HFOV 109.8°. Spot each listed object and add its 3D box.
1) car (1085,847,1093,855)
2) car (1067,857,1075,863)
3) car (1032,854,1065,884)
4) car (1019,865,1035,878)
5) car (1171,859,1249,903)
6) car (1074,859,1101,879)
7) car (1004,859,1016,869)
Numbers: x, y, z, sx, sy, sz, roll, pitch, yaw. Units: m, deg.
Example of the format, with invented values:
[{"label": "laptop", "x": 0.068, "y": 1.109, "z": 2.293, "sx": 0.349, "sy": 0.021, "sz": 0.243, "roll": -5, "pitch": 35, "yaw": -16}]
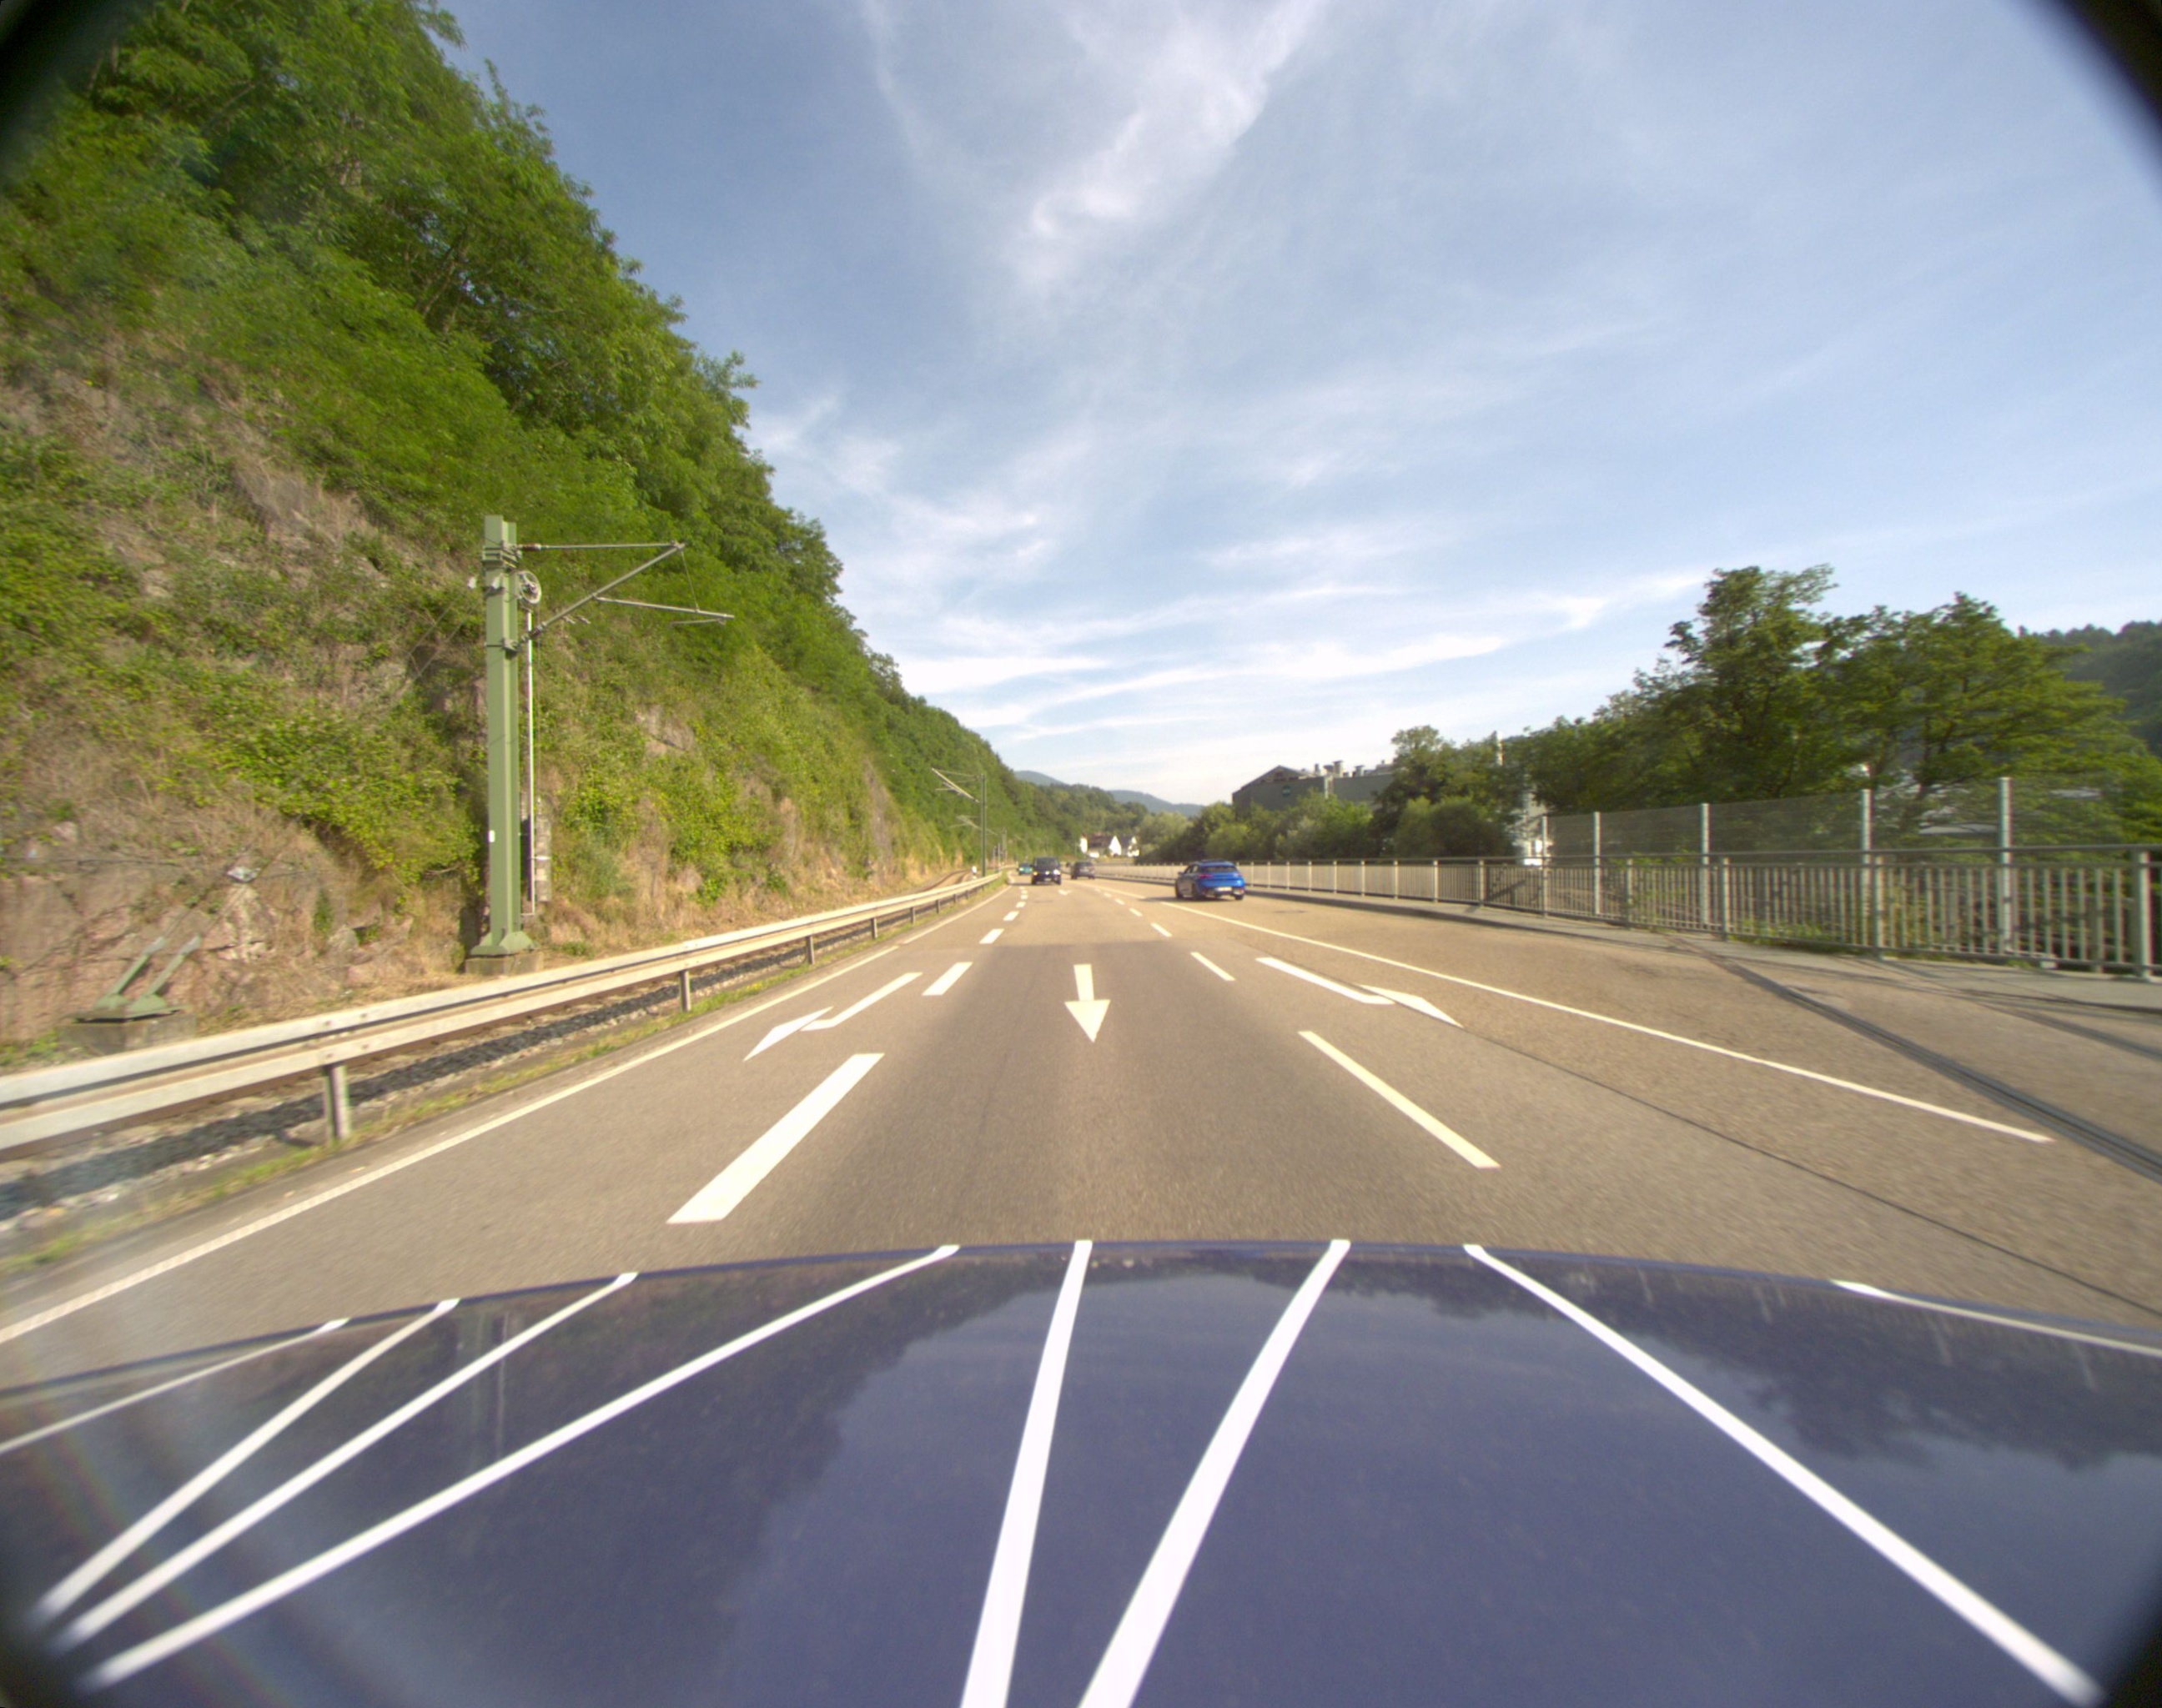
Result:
[{"label": "car", "x": 2.080, "y": -0.789, "z": 197.778, "sx": 1.998, "sy": 2.002, "sz": 4.001, "roll": -2, "pitch": 0, "yaw": 2}, {"label": "car", "x": -2.539, "y": 1.478, "z": 196.285, "sx": 1.707, "sy": 1.423, "sz": 4.075, "roll": 1, "pitch": 0, "yaw": 2}, {"label": "car", "x": -2.286, "y": 1.024, "z": 52.134, "sx": 1.910, "sy": 1.867, "sz": 4.346, "roll": -4, "pitch": -1, "yaw": -5}, {"label": "car", "x": -6.372, "y": 2.034, "z": 89.217, "sx": 1.768, "sy": 1.452, "sz": 3.574, "roll": 0, "pitch": 1, "yaw": -5}, {"label": "car", "x": 4.756, "y": 0.953, "z": 28.665, "sx": 1.787, "sy": 1.473, "sz": 4.524, "roll": -2, "pitch": 0, "yaw": -5}, {"label": "car", "x": 0.540, "y": 1.271, "z": 66.553, "sx": 1.822, "sy": 1.637, "sz": 4.609, "roll": -1, "pitch": 0, "yaw": -7}, {"label": "car", "x": -10.726, "y": 1.511, "z": 114.848, "sx": 1.653, "sy": 1.424, "sz": 3.330, "roll": 3, "pitch": 0, "yaw": -5}]
